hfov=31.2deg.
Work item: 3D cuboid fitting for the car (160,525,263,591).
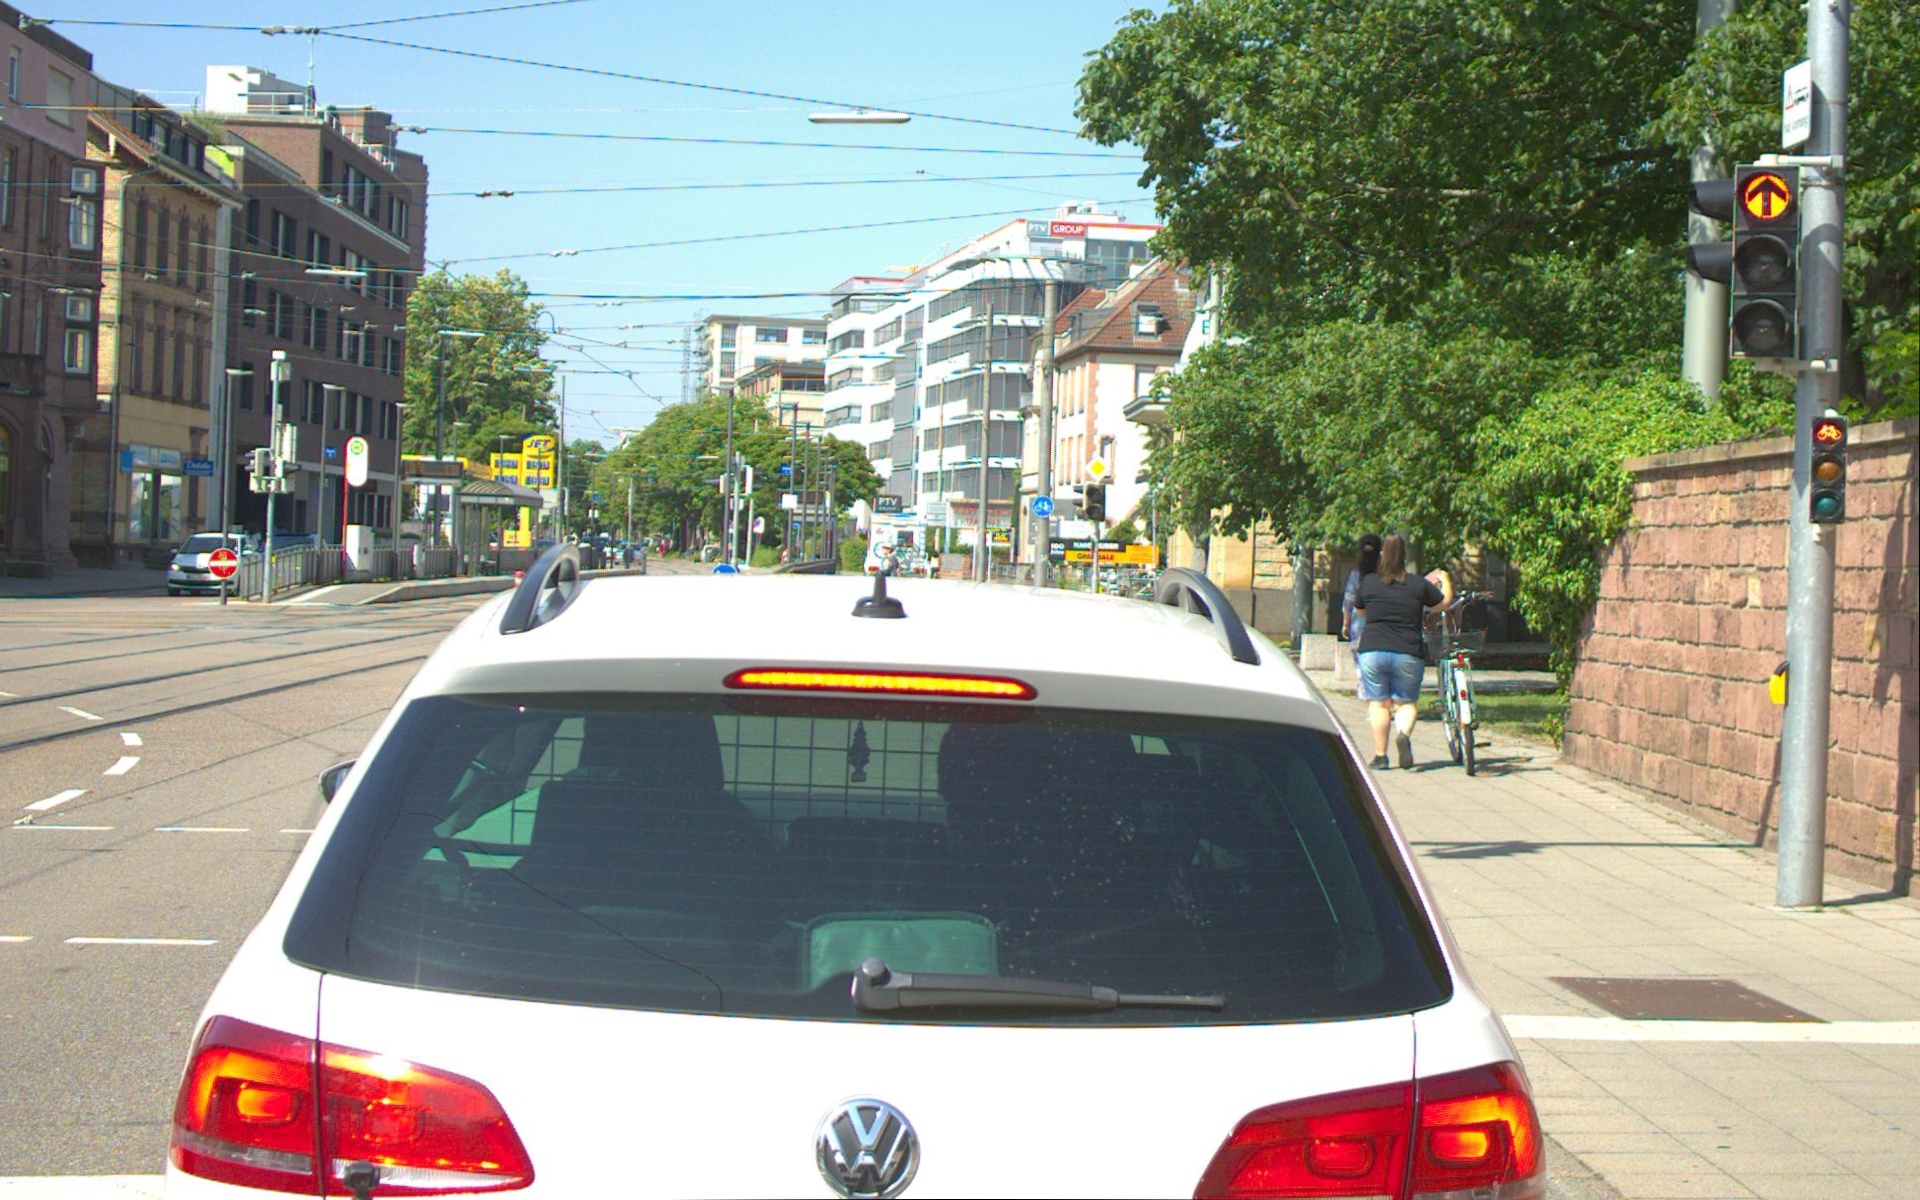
[{"bbox_3d":[-17.457,-0.982,80.360,1.625,1.426,3.963,3,1,-2],"label":"car"}]

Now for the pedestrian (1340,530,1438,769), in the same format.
[{"bbox_3d":[2.804,0.315,22.513,0.540,1.543,0.663,0,1,-1],"label":"pedestrian"}]

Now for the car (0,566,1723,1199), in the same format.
[{"bbox_3d":[-0.155,0.696,5.380,1.752,1.413,3.853,2,1,-1],"label":"car"}]

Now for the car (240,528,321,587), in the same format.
[{"bbox_3d":[-17.531,-1.105,88.840,1.572,1.454,3.815,2,1,-4],"label":"car"}]

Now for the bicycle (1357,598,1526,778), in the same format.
[{"bbox_3d":[3.127,0.552,22.466,0.535,1.107,1.807,1,0,-10],"label":"bicycle"}]

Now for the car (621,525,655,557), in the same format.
[{"bbox_3d":[-20.584,-3.761,219.886,1.993,2.007,4.000,1,1,-2],"label":"car"}]

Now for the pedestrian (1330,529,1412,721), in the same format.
[{"bbox_3d":[3.684,0.218,30.865,0.650,1.676,0.707,2,1,5],"label":"pedestrian"}]

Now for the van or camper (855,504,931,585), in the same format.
[{"bbox_3d":[-2.761,-2.307,142.481,2.944,3.169,6.613,2,1,0],"label":"van or camper"}]

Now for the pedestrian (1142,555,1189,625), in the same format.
[{"bbox_3d":[4.561,-0.225,76.214,0.856,1.505,0.781,2,1,15],"label":"pedestrian"}]

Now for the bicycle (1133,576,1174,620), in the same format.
[{"bbox_3d":[5.087,-0.060,90.422,0.726,1.135,2.193,2,1,12],"label":"bicycle"}]

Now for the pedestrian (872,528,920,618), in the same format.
[{"bbox_3d":[-1.303,-0.549,70.253,0.831,1.803,0.829,2,1,6],"label":"pedestrian"}]
